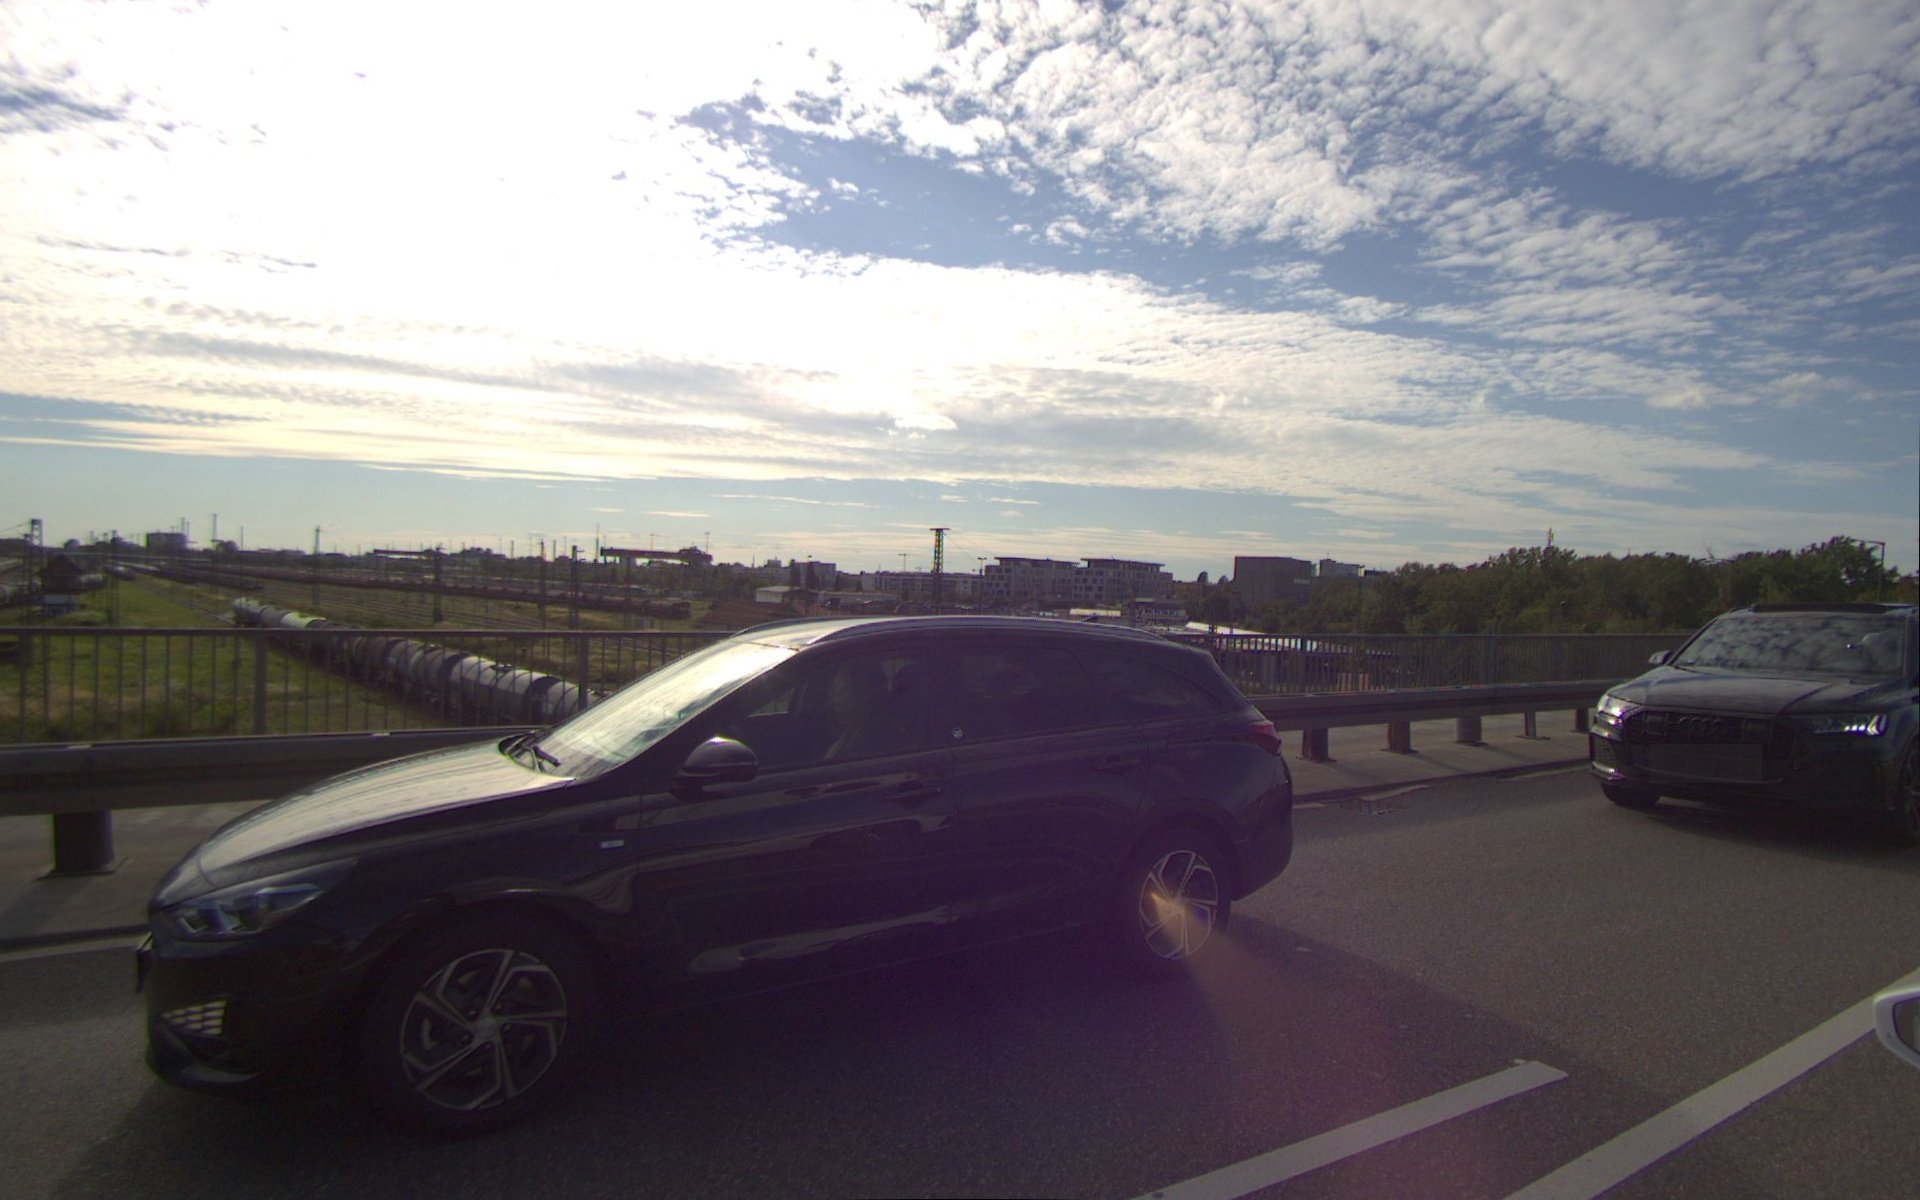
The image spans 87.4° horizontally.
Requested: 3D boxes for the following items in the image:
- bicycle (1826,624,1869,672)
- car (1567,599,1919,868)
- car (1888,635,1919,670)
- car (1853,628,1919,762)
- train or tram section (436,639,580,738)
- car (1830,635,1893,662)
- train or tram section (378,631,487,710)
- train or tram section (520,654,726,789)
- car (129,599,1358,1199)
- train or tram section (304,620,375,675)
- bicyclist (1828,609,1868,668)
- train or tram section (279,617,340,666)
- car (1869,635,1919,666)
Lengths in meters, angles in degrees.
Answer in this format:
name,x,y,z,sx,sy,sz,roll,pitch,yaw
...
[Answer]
name,x,y,z,sx,sy,sz,roll,pitch,yaw
bicycle,25.915,1.390,29.325,1.902,1.349,0.757,2,-1,-43
car,7.236,0.896,8.443,4.816,1.694,1.818,1,-1,-34
car,44.374,2.416,46.444,1.718,1.521,4.062,0,-1,37
car,12.689,1.121,12.411,4.039,1.521,1.728,1,-1,-37
train or tram section,-27.656,4.966,60.591,3.074,4.775,16.544,2,-1,-42
car,53.390,2.852,59.571,1.714,1.521,4.073,0,-1,26
train or tram section,-38.620,4.873,72.980,3.074,4.775,16.544,2,-1,-42
train or tram section,-16.690,5.345,48.181,3.074,4.775,16.544,2,-1,-42
car,-0.500,0.805,4.273,4.392,1.509,1.752,1,-1,-30
train or tram section,-60.601,4.462,97.791,3.074,4.775,16.544,2,-1,-42
bicyclist,25.976,1.118,29.379,1.112,1.682,0.759,2,-1,-43
train or tram section,-70.405,4.295,108.472,3.074,4.775,16.544,2,-1,-42
car,49.343,2.641,52.864,1.717,1.521,4.064,0,-1,35
